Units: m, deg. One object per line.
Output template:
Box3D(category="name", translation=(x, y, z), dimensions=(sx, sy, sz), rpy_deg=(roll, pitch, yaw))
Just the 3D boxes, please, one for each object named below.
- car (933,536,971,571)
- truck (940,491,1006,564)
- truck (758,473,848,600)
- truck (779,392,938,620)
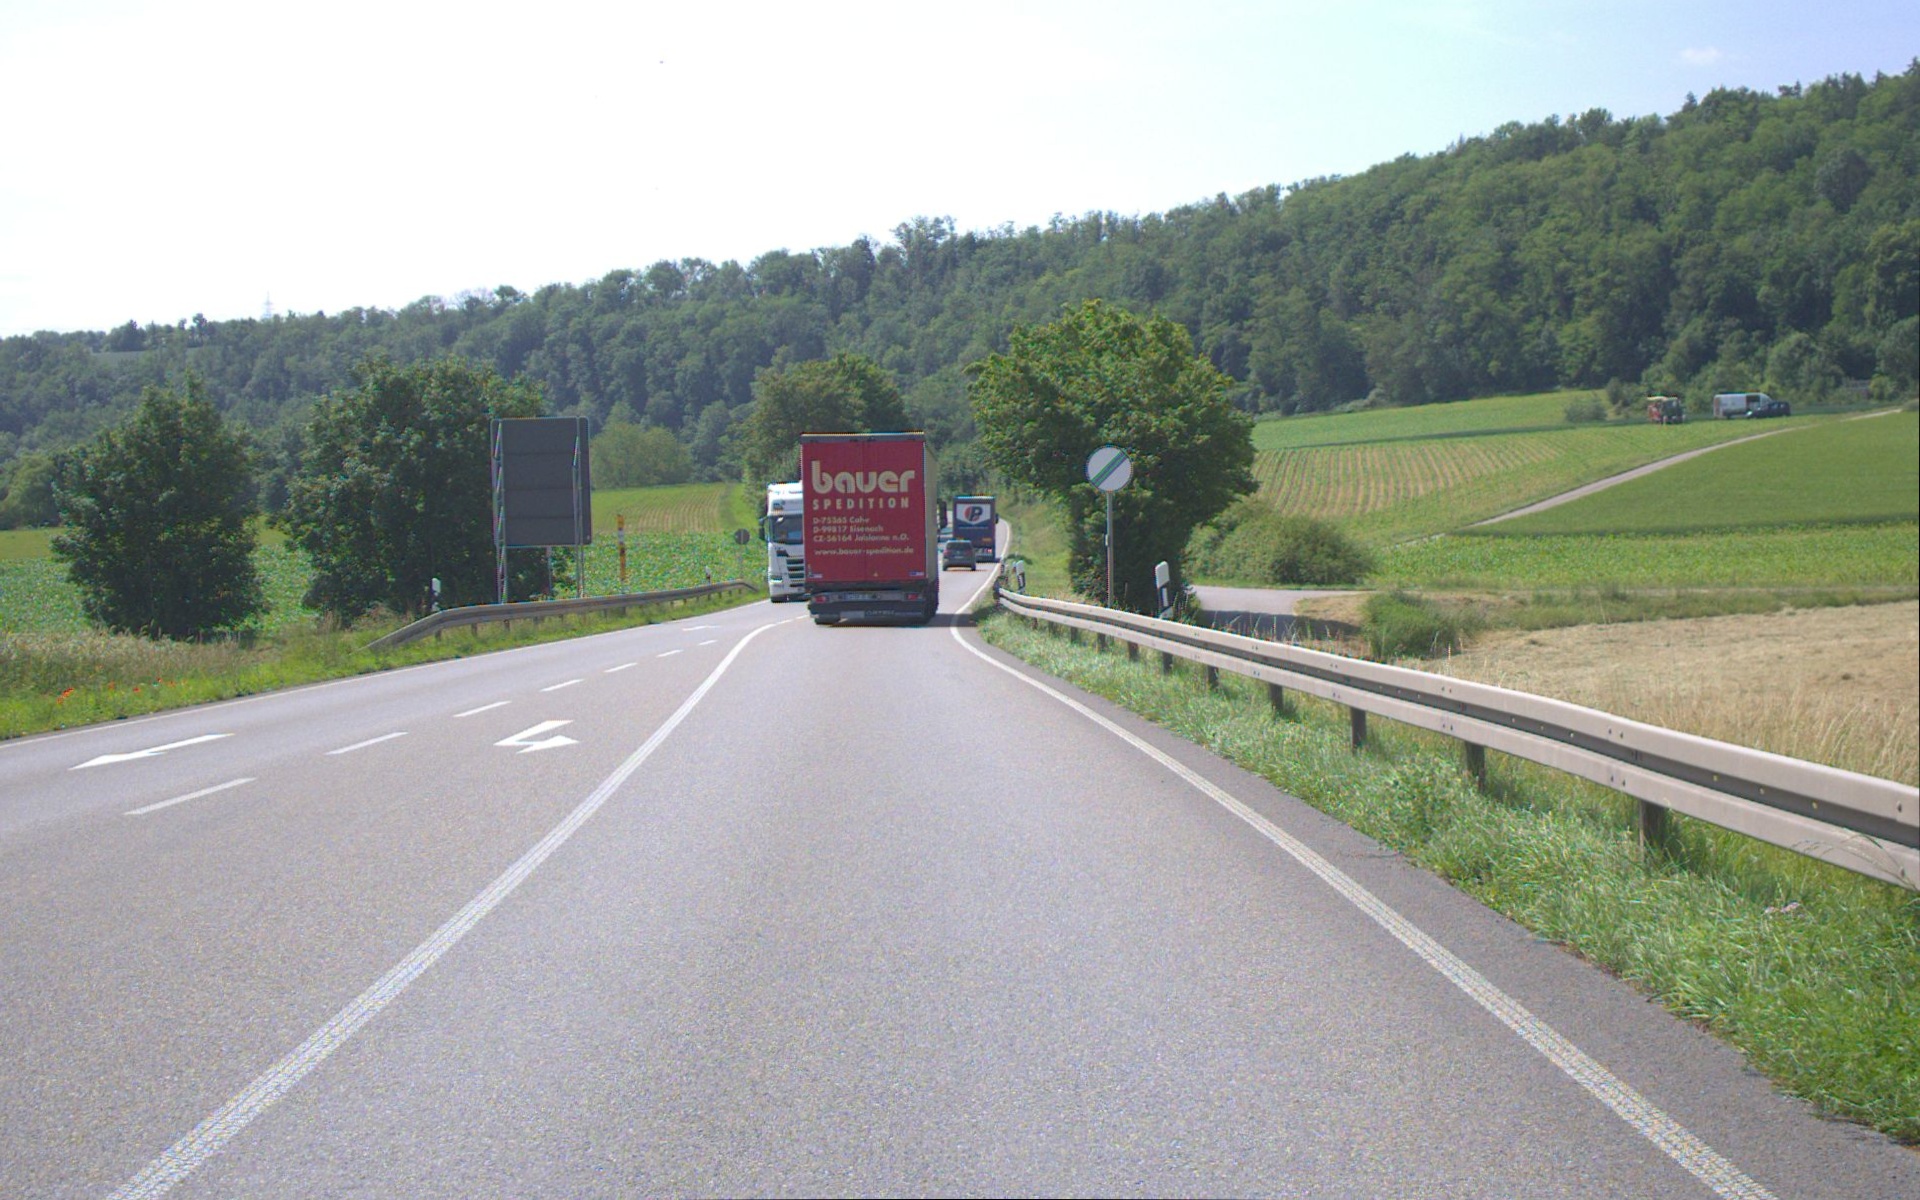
Box3D(category="car", translation=(-0.439, -2.500, 186.304), dimensions=(1.993, 1.804, 4.000), rpy_deg=(2, 1, 0))
Box3D(category="truck", translation=(0.802, -4.511, 217.047), dimensions=(3.905, 4.354, 13.293), rpy_deg=(1, 1, 0))
Box3D(category="truck", translation=(-5.284, -2.125, 116.732), dimensions=(2.530, 4.105, 6.021), rpy_deg=(-2, 1, 1))
Box3D(category="truck", translation=(-2.179, -2.055, 76.799), dimensions=(3.172, 4.609, 13.545), rpy_deg=(-1, 1, -1))
